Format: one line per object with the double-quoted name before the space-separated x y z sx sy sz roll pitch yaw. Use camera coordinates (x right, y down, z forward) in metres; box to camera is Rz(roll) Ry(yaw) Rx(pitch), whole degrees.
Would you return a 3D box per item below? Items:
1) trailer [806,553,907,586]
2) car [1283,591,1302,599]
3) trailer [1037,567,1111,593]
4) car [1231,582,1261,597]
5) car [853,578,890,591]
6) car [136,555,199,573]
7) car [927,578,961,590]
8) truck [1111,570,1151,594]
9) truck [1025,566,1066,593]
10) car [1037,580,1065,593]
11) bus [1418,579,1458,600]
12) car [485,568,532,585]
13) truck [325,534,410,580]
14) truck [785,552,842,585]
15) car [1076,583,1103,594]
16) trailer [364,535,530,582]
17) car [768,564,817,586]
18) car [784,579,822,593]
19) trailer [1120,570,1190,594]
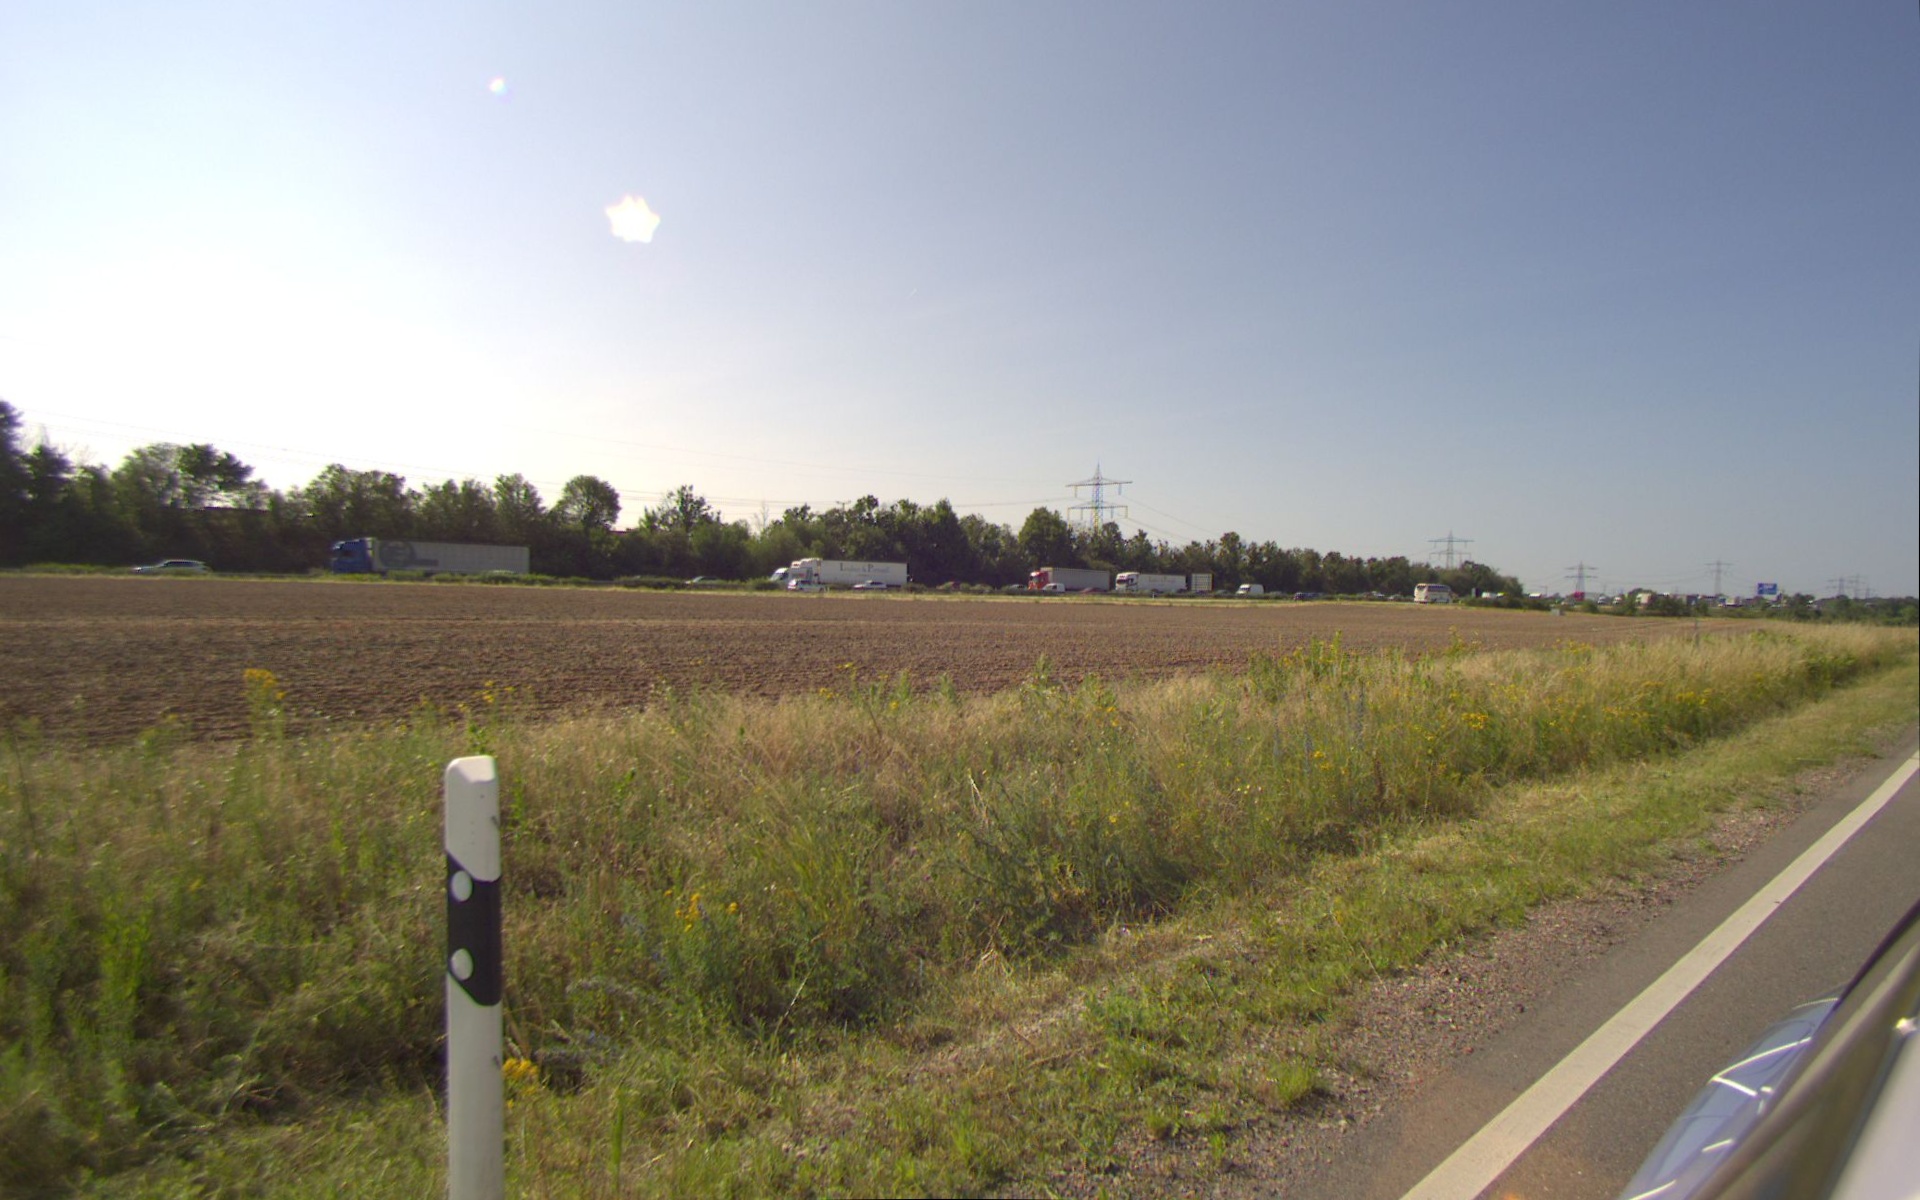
"trailer" -12.728 -3.725 125.635 13.135 3.780 3.076 1 1 -42
"car" 56.082 -0.885 170.485 3.558 1.250 1.547 1 -2 -43
"trailer" 17.483 -3.000 154.130 13.549 3.780 2.949 1 1 -43
"car" 50.181 -1.783 177.375 6.303 2.478 2.040 1 0 -42
"car" -10.530 -1.811 120.241 4.176 1.403 1.852 1 -1 -43
"car" -57.904 -2.610 74.004 3.520 1.166 1.396 1 -1 -42
"car" -2.058 -2.019 128.176 4.176 1.403 1.852 1 -1 -43
"truck" 27.594 -2.923 163.096 6.006 3.575 3.207 1 2 -43
"truck" 12.709 -3.034 149.709 5.770 3.780 2.949 1 0 -43
"car" 12.662 -1.895 140.967 4.025 1.659 1.704 1 0 -44
"bus" 98.846 -2.138 208.932 14.304 3.851 2.465 1 0 -44
"car" -40.491 -2.054 90.779 3.542 1.403 1.493 1 -1 -43
"truck" -52.254 -3.762 89.327 5.981 3.780 3.077 1 1 -42
"truck" -17.525 -3.767 121.327 6.012 3.780 3.077 1 1 -42
"car" 18.727 -1.708 146.556 4.024 1.528 1.705 0 0 -43
"trailer" -47.263 -3.724 93.798 13.393 3.780 3.077 1 1 -42
"car" -18.428 -2.780 111.662 5.149 2.228 1.907 1 -1 -43
"car" -15.946 -1.442 102.842 3.558 1.250 1.547 1 -2 -43
"trailer" 32.455 -2.873 167.757 14.829 3.575 3.206 1 2 -43
